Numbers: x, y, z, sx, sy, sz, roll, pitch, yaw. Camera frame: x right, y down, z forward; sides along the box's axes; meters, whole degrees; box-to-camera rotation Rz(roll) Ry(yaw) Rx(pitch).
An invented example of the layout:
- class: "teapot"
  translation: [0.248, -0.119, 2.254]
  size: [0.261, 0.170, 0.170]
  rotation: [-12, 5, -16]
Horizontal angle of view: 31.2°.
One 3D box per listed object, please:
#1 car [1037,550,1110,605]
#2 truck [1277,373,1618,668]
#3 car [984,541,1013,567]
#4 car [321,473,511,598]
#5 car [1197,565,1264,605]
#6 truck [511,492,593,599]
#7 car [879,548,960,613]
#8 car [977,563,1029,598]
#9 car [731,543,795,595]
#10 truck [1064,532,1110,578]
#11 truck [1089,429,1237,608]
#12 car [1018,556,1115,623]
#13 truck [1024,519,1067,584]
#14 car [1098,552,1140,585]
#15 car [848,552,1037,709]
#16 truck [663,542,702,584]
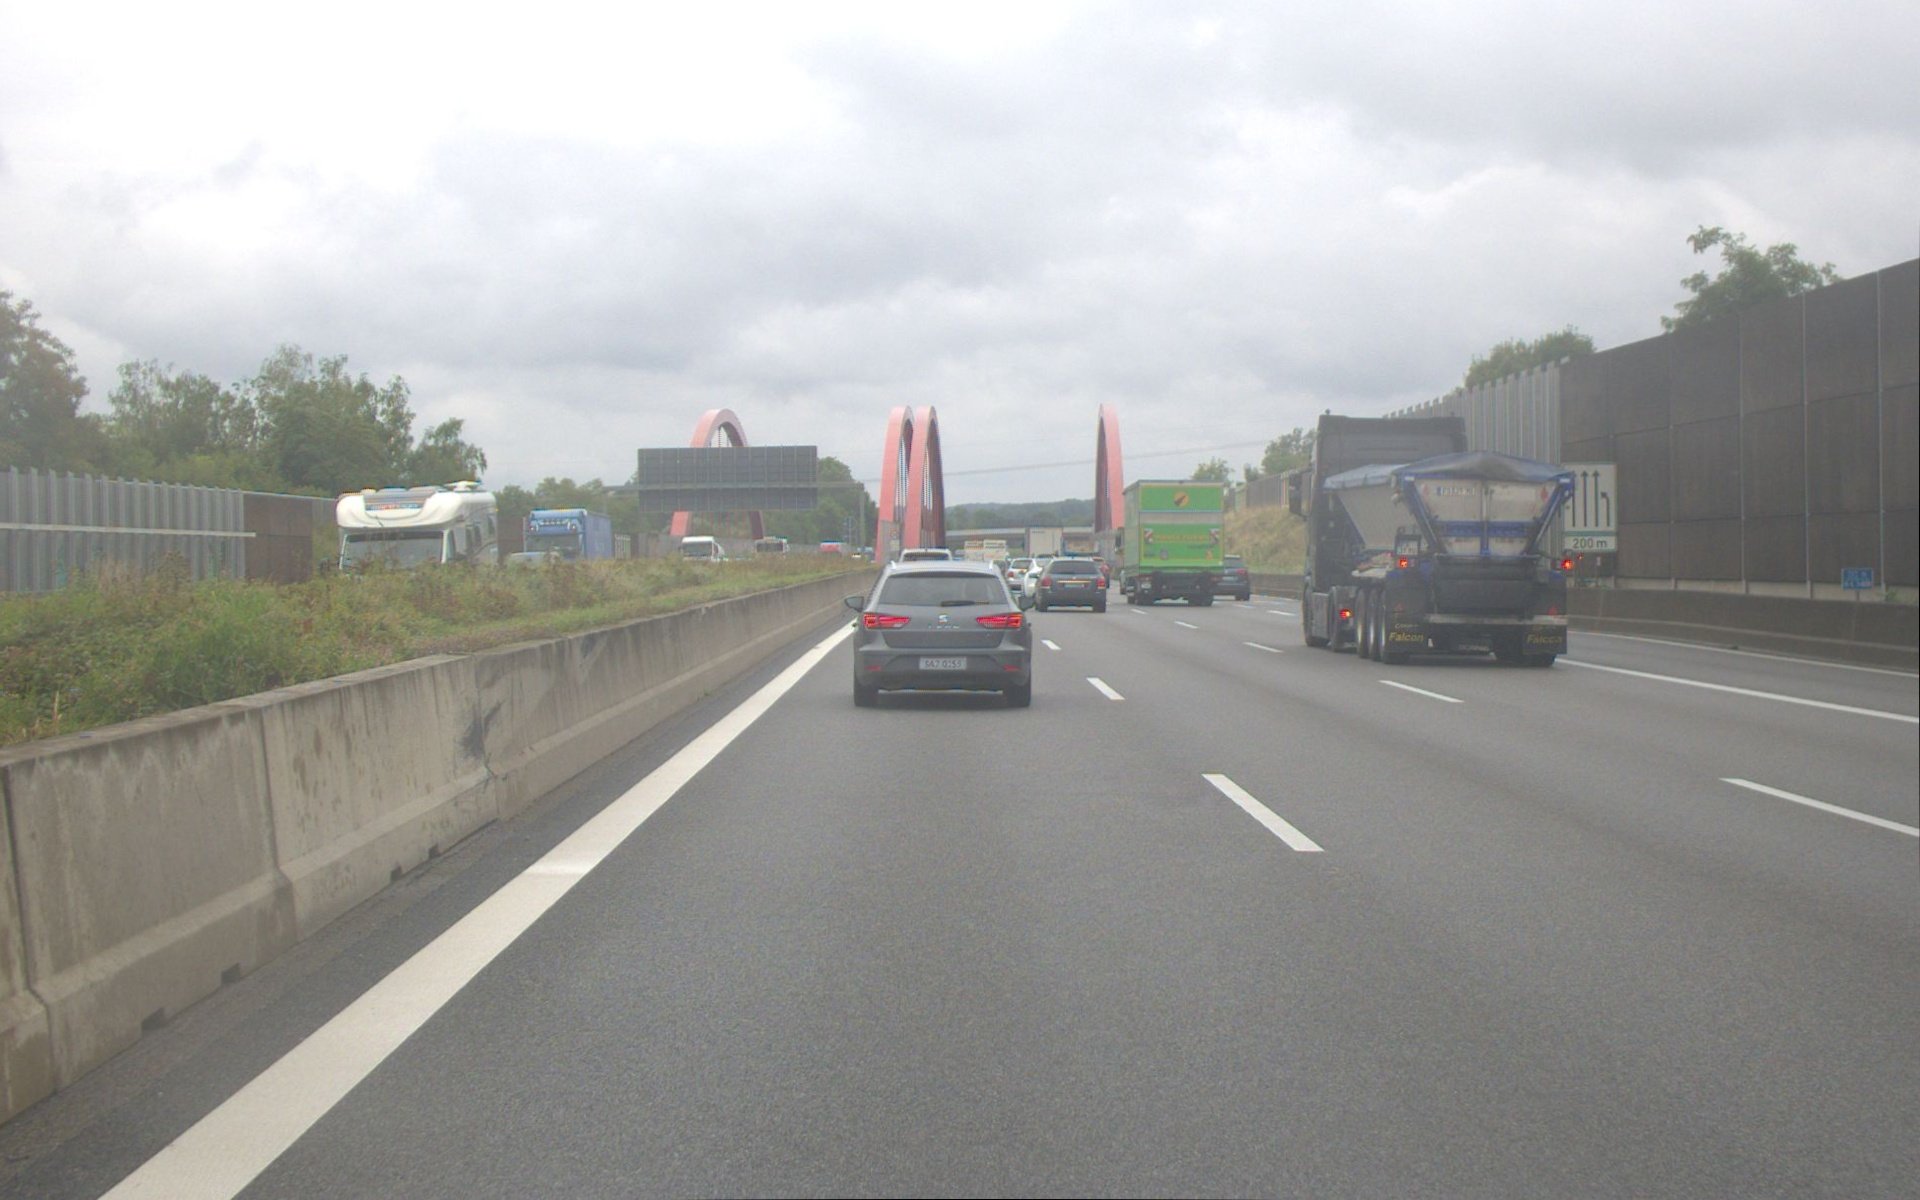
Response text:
- class: "car"
  translation: [2.975, -0.608, 90.809]
  size: [1.782, 1.401, 3.626]
  rotation: [0, 1, 0]
- class: "truck"
  translation: [7.170, -1.137, 52.809]
  size: [3.089, 3.936, 12.946]
  rotation: [-1, 1, -1]
- class: "car"
  translation: [2.670, -3.187, 238.351]
  size: [1.993, 1.809, 4.000]
  rotation: [1, 1, 1]
- class: "car"
  translation: [-10.105, -1.176, 64.542]
  size: [2.373, 2.185, 7.724]
  rotation: [0, 1, 0]
- class: "car"
  translation: [9.647, -0.546, 122.847]
  size: [1.993, 1.349, 4.000]
  rotation: [-1, 1, -1]
- class: "truck"
  translation: [-18.946, -2.535, 159.975]
  size: [3.188, 4.842, 5.419]
  rotation: [1, 1, -1]
- class: "car"
  translation: [-1.013, -0.524, 86.999]
  size: [1.993, 1.579, 4.000]
  rotation: [-1, 1, -1]
- class: "car"
  translation: [1.714, -0.812, 139.440]
  size: [1.993, 1.349, 4.000]
  rotation: [-1, 1, -1]
- class: "car"
  translation: [-6.709, -1.069, 117.201]
  size: [1.993, 1.744, 4.000]
  rotation: [-1, 1, -1]
- class: "truck"
  translation: [7.077, -2.524, 191.973]
  size: [2.361, 2.498, 6.144]
  rotation: [1, 1, 1]
- class: "truck"
  translation: [6.237, -2.488, 107.809]
  size: [3.997, 5.248, 11.219]
  rotation: [1, 1, 1]
- class: "car"
  translation: [2.238, -0.247, 73.298]
  size: [1.993, 1.349, 4.000]
  rotation: [0, 1, 1]
- class: "truck"
  translation: [6.435, -3.631, 259.148]
  size: [3.044, 4.718, 7.680]
  rotation: [1, 1, 1]
- class: "car"
  translation: [8.107, -1.625, 175.590]
  size: [1.957, 1.641, 4.000]
  rotation: [1, 1, 0]
- class: "car"
  translation: [-0.135, 0.257, 34.241]
  size: [1.764, 1.448, 4.000]
  rotation: [1, 1, 1]
- class: "truck"
  translation: [-20.466, -2.755, 254.168]
  size: [2.621, 3.009, 5.614]
  rotation: [1, 1, -3]
